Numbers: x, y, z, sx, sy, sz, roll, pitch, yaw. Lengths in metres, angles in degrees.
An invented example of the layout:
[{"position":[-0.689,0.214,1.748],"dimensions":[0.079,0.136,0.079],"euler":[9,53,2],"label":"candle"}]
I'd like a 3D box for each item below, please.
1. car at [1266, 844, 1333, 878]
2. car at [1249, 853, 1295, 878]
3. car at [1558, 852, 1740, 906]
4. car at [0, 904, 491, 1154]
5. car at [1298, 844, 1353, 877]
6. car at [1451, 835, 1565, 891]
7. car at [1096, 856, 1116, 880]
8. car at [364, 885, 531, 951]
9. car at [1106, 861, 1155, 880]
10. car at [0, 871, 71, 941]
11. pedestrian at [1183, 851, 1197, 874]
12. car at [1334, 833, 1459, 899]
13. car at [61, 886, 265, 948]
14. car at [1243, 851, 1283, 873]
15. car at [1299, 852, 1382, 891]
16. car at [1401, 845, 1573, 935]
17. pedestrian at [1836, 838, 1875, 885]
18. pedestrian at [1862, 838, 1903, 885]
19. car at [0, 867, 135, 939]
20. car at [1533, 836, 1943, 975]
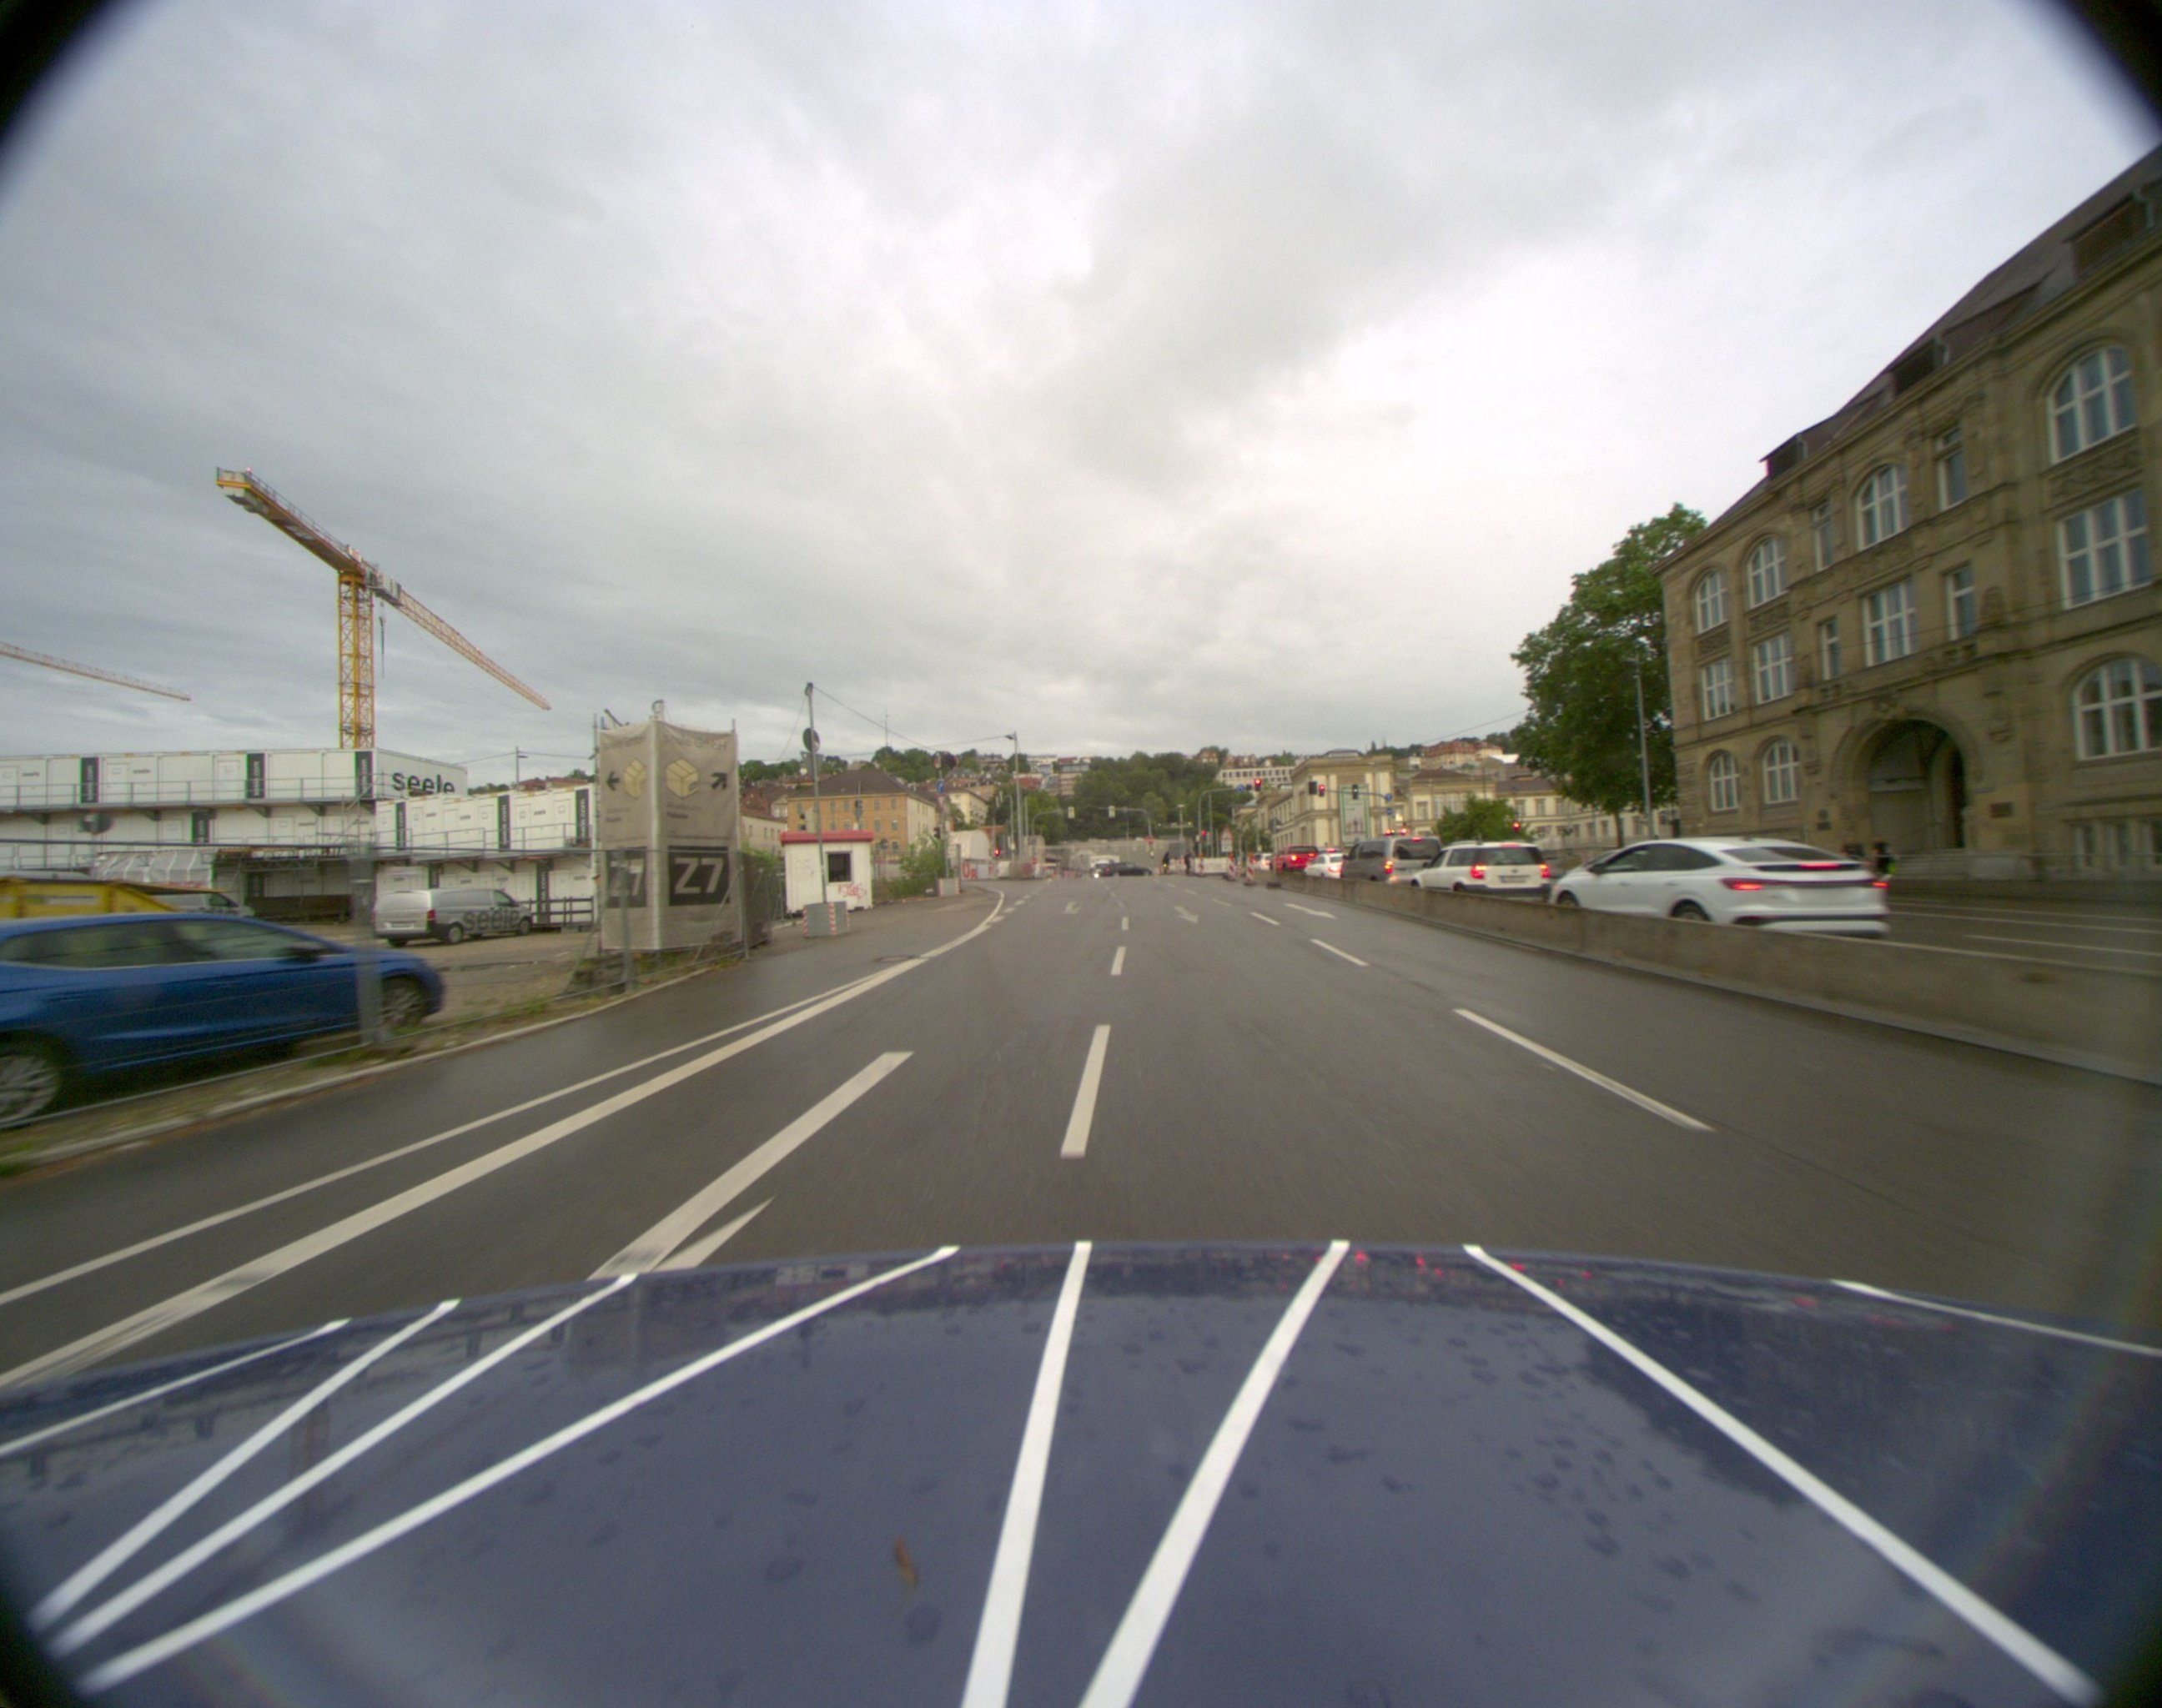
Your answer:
[{"position":[10.814,0.309,37.952],"dimensions":[1.998,1.558,5.383],"euler":[-1,0,2],"label":"car"},{"position":[11.733,0.664,47.037],"dimensions":[1.998,1.462,4.562],"euler":[-1,0,4],"label":"car"},{"position":[15.905,0.643,21.612],"dimensions":[1.999,1.374,4.211],"euler":[-1,0,0],"label":"car"},{"position":[-7.959,1.347,6.551],"dimensions":[1.836,1.432,4.416],"euler":[-4,0,8],"label":"car"},{"position":[14.154,0.345,44.195],"dimensions":[1.998,1.784,4.616],"euler":[-1,0,4],"label":"car"},{"position":[16.249,0.319,29.168],"dimensions":[1.999,2.002,3.999],"euler":[-1,0,-3],"label":"car"},{"position":[4.575,2.467,136.523],"dimensions":[2.835,3.990,8.729],"euler":[-1,0,6],"label":"car"},{"position":[-21.524,2.093,26.132],"dimensions":[2.019,1.890,4.653],"euler":[-1,-1,-3],"label":"car"},{"position":[4.353,1.420,67.319],"dimensions":[4.111,1.608,1.887],"euler":[-1,0,-6],"label":"car"},{"position":[-41.194,1.953,27.932],"dimensions":[2.000,2.545,4.979],"euler":[0,0,-9],"label":"car"},{"position":[8.001,0.616,55.816],"dimensions":[0.784,1.700,0.761],"euler":[-1,1,-18],"label":"pedestrian"},{"position":[9.915,0.334,24.436],"dimensions":[1.998,1.855,5.597],"euler":[-1,0,4],"label":"car"},{"position":[-33.545,2.208,28.054],"dimensions":[2.000,1.876,4.979],"euler":[0,0,-9],"label":"car"},{"position":[12.430,0.520,52.175],"dimensions":[1.998,1.462,4.347],"euler":[-1,0,4],"label":"car"},{"position":[10.627,0.670,31.541],"dimensions":[1.998,1.493,4.822],"euler":[-1,0,3],"label":"car"},{"position":[9.295,0.749,17.879],"dimensions":[1.913,1.855,4.380],"euler":[-1,0,3],"label":"car"},{"position":[26.440,0.247,25.955],"dimensions":[0.617,1.575,0.735],"euler":[-1,1,6],"label":"pedestrian"},{"position":[27.305,0.263,25.885],"dimensions":[0.618,1.575,0.734],"euler":[-1,1,-2],"label":"pedestrian"},{"position":[-38.805,1.764,28.047],"dimensions":[2.000,2.427,4.979],"euler":[-1,0,-9],"label":"car"},{"position":[8.808,0.581,10.968],"dimensions":[1.898,1.558,4.899],"euler":[-1,0,4],"label":"car"}]
